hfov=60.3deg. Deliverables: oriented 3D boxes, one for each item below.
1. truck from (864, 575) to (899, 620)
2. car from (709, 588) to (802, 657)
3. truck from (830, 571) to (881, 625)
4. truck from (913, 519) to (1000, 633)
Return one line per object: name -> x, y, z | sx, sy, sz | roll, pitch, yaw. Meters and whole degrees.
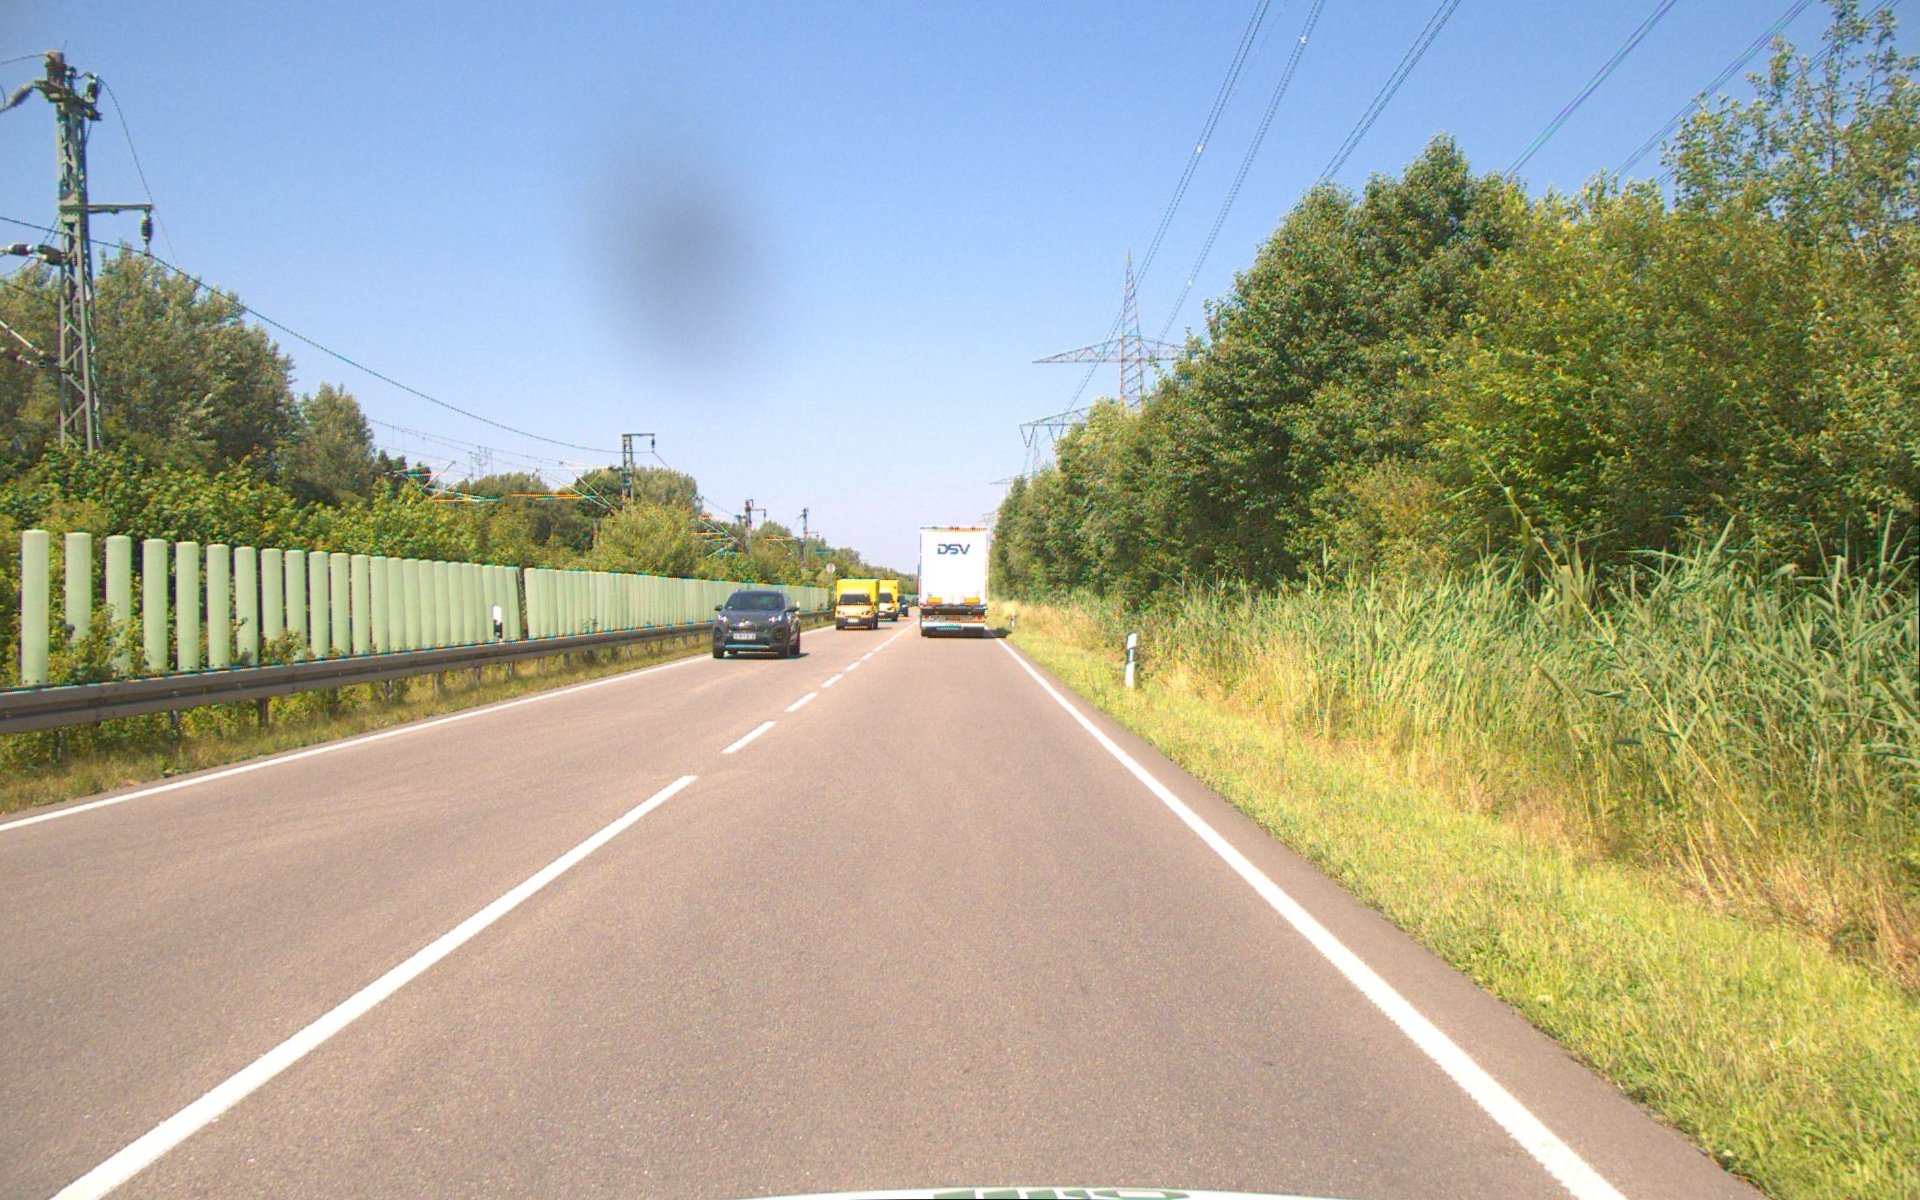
truck -> -4.914, -0.160, 104.261 | 2.038, 2.693, 5.703 | 0, 0, -1
car -> -5.022, 0.517, 41.159 | 1.764, 1.615, 4.370 | 0, 0, 0
truck -> -4.799, -0.082, 76.773 | 1.953, 2.389, 6.011 | 0, 0, 0
truck -> -0.202, -0.875, 65.587 | 3.127, 4.113, 12.004 | 0, 0, -1
